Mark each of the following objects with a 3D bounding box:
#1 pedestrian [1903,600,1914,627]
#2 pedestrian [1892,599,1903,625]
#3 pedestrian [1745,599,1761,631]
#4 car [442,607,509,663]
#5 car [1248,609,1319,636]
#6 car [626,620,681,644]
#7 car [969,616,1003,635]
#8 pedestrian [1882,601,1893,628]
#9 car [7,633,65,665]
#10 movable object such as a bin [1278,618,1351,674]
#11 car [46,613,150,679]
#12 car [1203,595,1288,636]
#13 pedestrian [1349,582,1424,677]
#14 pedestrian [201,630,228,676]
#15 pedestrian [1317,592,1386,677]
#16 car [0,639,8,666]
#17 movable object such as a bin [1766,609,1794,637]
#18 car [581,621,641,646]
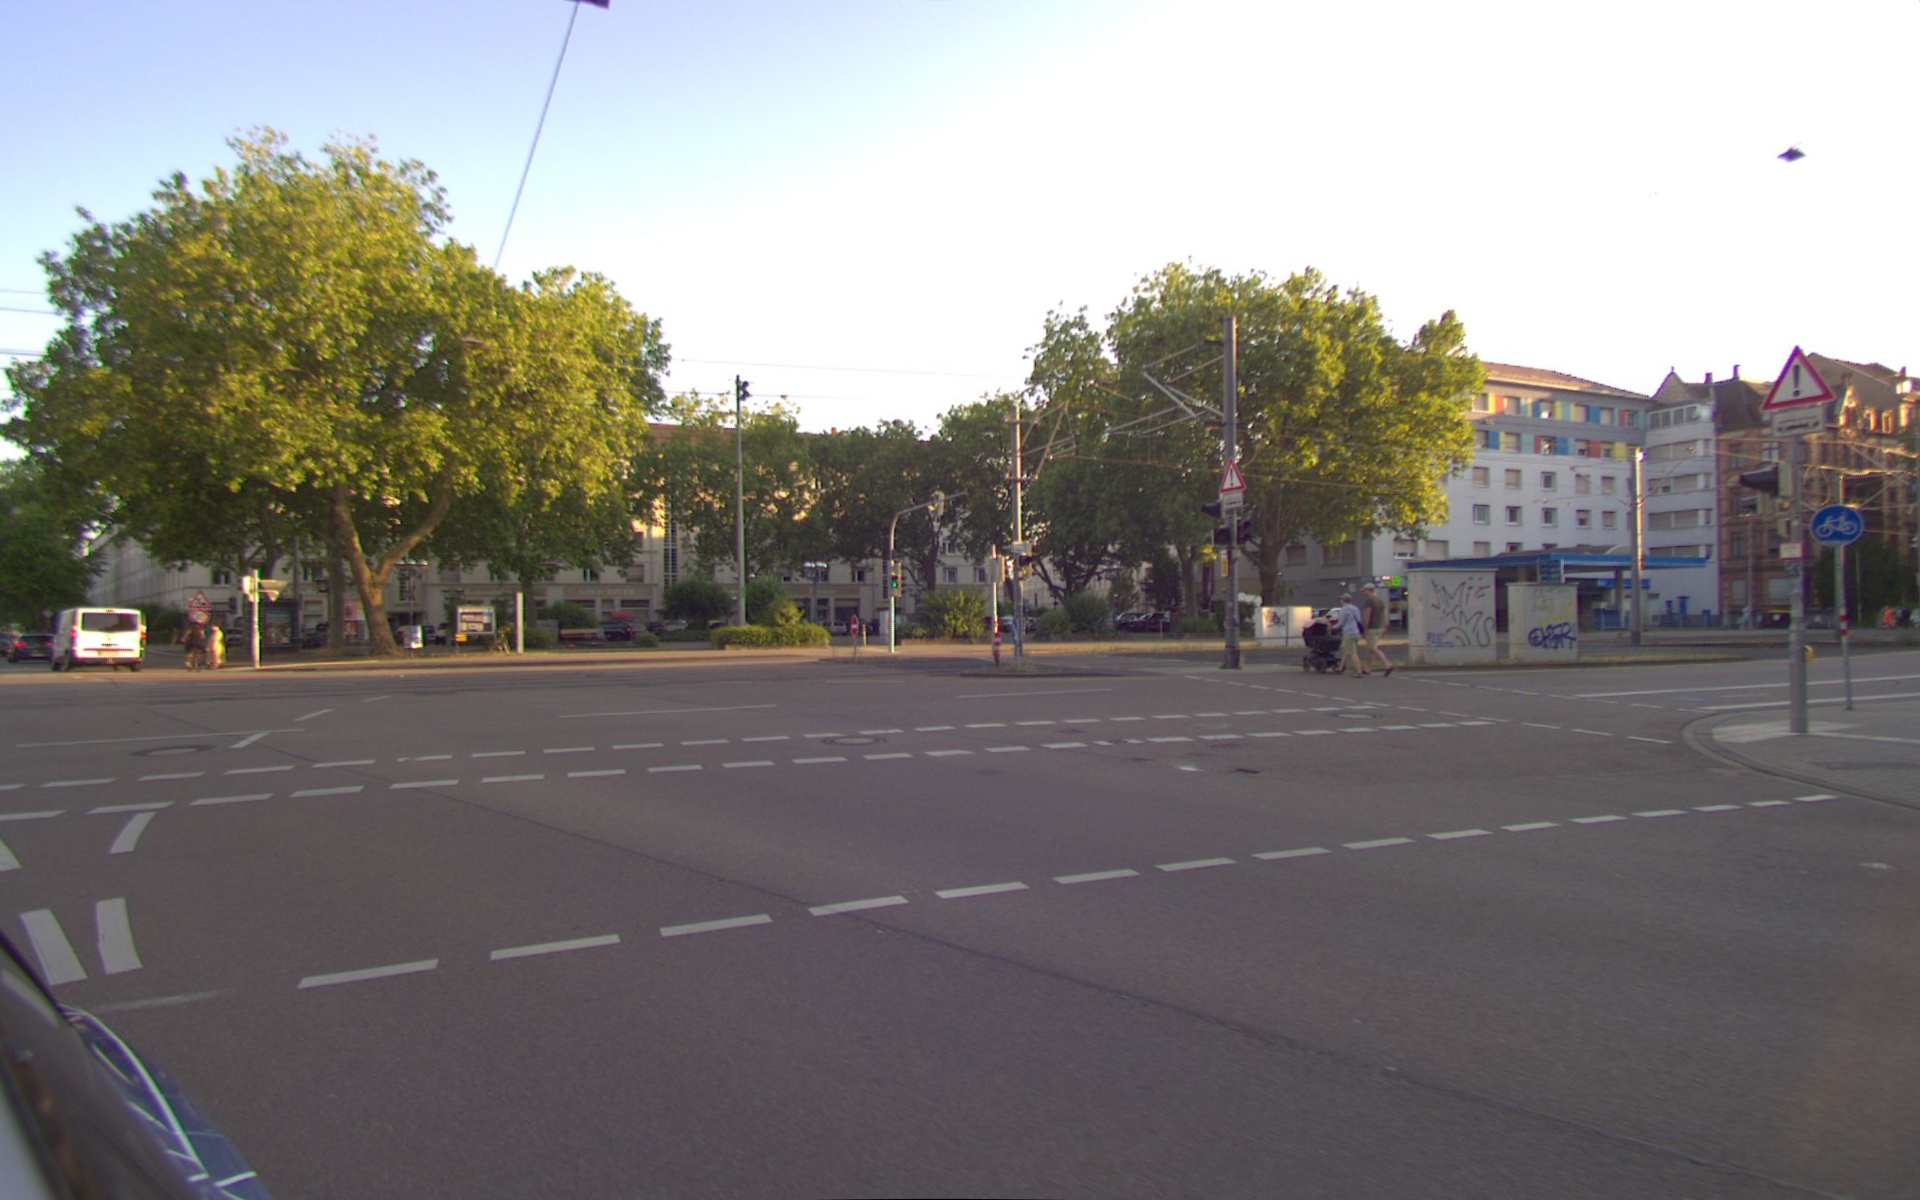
[{"bbox_3d":[65.565,0.940,69.951,0.545,1.840,0.453,0,-2,-41],"label":"pedestrian"},{"bbox_3d":[65.389,0.838,70.583,0.545,1.840,0.453,0,-2,-41],"label":"pedestrian"},{"bbox_3d":[51.661,0.977,65.899,0.598,2.029,0.560,0,-1,-23],"label":"pedestrian"},{"bbox_3d":[-18.863,1.337,39.312,1.837,2.029,3.820,0,-2,-34],"label":"car"},{"bbox_3d":[19.950,1.404,62.444,3.931,1.586,1.789,0,-1,-21],"label":"car"},{"bbox_3d":[-23.146,2.382,76.468,3.932,1.719,2.006,0,-1,-15],"label":"car"},{"bbox_3d":[2.282,2.264,89.422,1.733,1.583,3.598,0,-1,-21],"label":"car"},{"bbox_3d":[64.980,1.003,70.915,0.545,1.840,0.453,0,-2,-41],"label":"pedestrian"},{"bbox_3d":[-45.358,2.373,49.654,1.970,1.470,4.003,0,-2,-44],"label":"car"},{"bbox_3d":[7.420,0.945,21.211,0.847,1.128,1.141,0,-2,-28],"label":"movable object such as a bin"},{"bbox_3d":[-27.740,1.449,32.520,4.594,1.971,1.965,-2,-2,42],"label":"car"},{"bbox_3d":[19.171,1.021,67.939,5.482,2.638,2.006,0,-1,-25],"label":"car"},{"bbox_3d":[8.582,0.589,20.387,0.699,1.861,1.163,0,-2,-28],"label":"pedestrian"},{"bbox_3d":[-26.756,1.889,36.329,0.734,1.641,0.662,0,-1,-31],"label":"pedestrian"},{"bbox_3d":[7.756,0.676,20.078,0.708,1.646,1.010,0,-2,-28],"label":"pedestrian"},{"bbox_3d":[-57.925,3.110,60.189,1.769,1.592,4.002,0,-2,-45],"label":"car"},{"bbox_3d":[60.160,1.658,74.225,1.491,2.029,1.342,-2,-2,38],"label":"movable object such as a bin"},{"bbox_3d":[-24.954,2.362,72.552,3.932,1.719,2.006,0,-1,-15],"label":"car"}]
